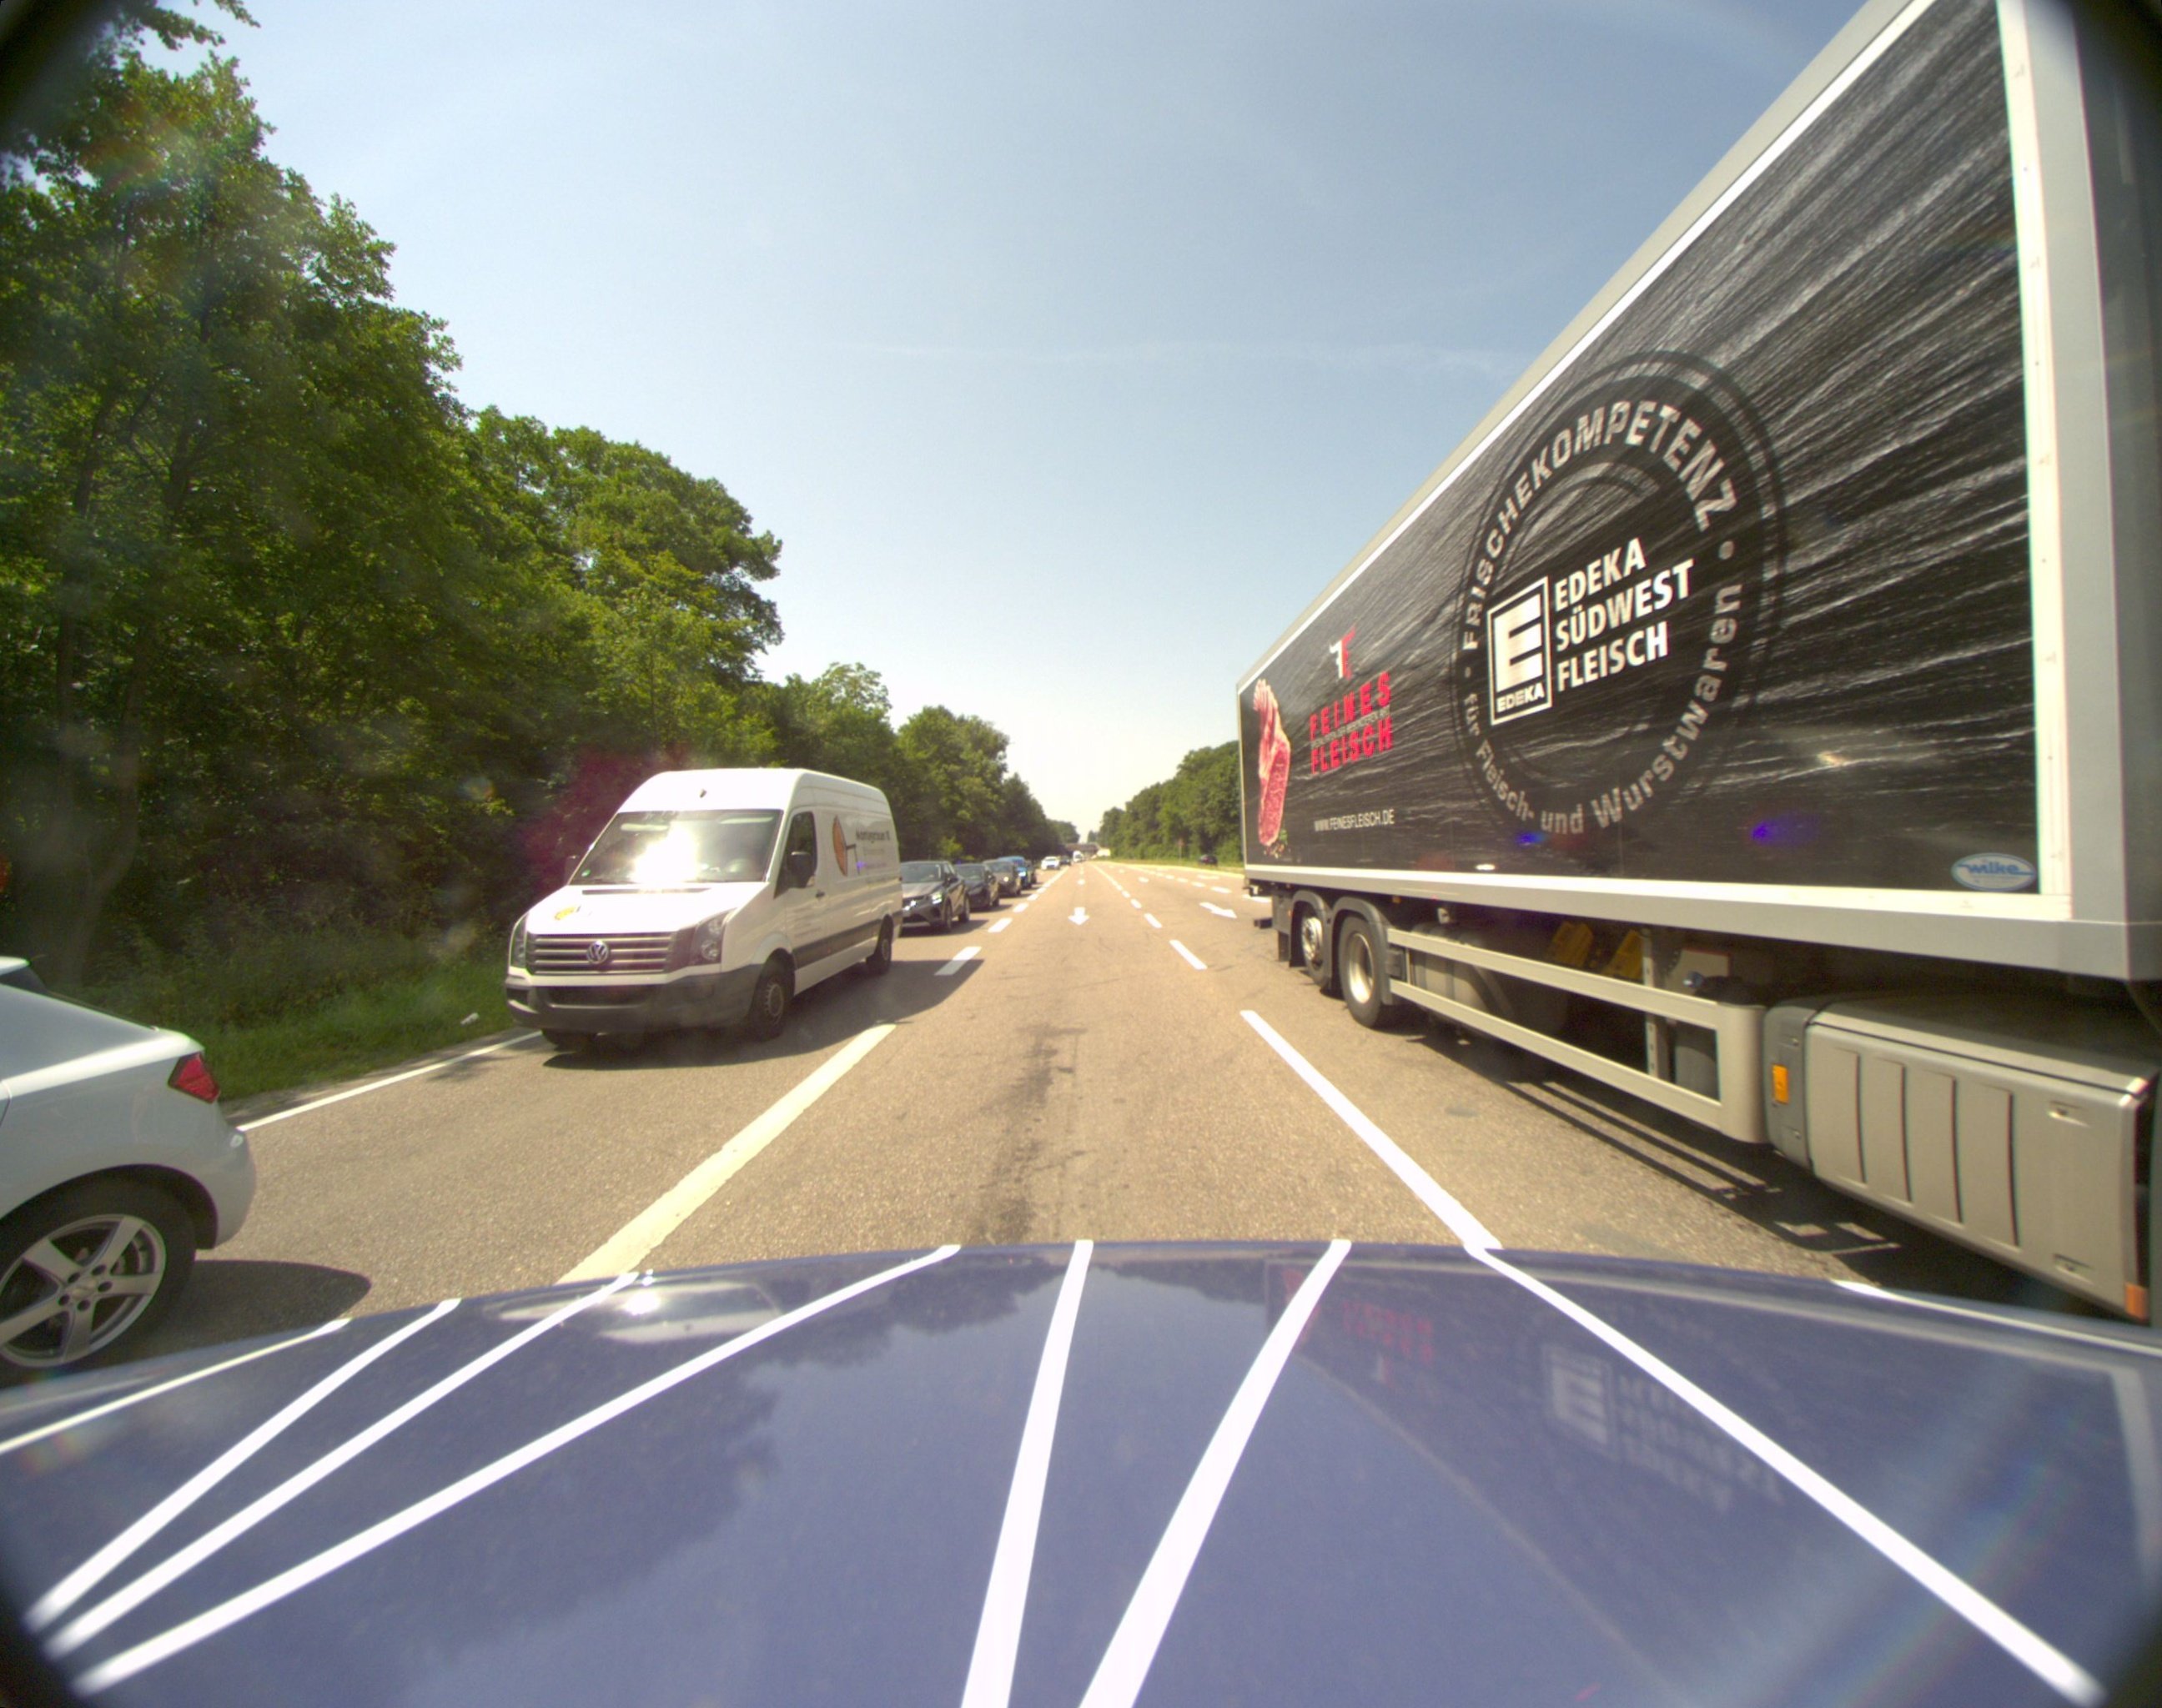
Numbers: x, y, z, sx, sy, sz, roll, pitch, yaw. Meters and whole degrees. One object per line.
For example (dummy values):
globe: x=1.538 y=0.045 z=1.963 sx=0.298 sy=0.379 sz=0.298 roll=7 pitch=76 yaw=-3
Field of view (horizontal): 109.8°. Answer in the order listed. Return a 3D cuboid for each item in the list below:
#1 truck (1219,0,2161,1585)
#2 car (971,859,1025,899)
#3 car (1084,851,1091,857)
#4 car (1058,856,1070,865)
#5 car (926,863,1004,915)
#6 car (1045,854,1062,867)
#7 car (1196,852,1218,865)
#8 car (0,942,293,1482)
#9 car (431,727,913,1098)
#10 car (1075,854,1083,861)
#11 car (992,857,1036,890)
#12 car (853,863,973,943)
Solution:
truck: x=3.499 y=-0.461 z=5.074 sx=2.753 sy=3.862 sz=11.318 roll=-2 pitch=0 yaw=-1
car: x=-3.297 y=0.978 z=30.890 sx=1.796 sy=1.431 sz=4.228 roll=-1 pitch=0 yaw=-1
car: x=1.985 y=-0.011 z=222.782 sx=1.999 sy=1.543 sz=3.999 roll=0 pitch=0 yaw=0
car: x=-2.728 y=0.985 z=120.928 sx=1.796 sy=1.431 sz=4.228 roll=-1 pitch=0 yaw=-1
car: x=-3.480 y=1.009 z=23.511 sx=1.796 sy=1.348 sz=4.228 roll=-1 pitch=0 yaw=-1
car: x=-3.121 y=0.736 z=86.843 sx=1.796 sy=1.431 sz=4.228 roll=0 pitch=0 yaw=-1
car: x=15.343 y=0.524 z=92.793 sx=1.999 sy=1.543 sz=3.999 roll=-2 pitch=1 yaw=0
car: x=-3.969 y=1.095 z=0.909 sx=1.693 sy=1.427 sz=4.001 roll=-3 pitch=0 yaw=3
car: x=-3.641 y=0.433 z=8.550 sx=1.974 sy=2.629 sz=6.060 roll=-2 pitch=0 yaw=1
car: x=-0.433 y=0.720 z=161.767 sx=1.796 sy=1.431 sz=4.228 roll=-1 pitch=0 yaw=-1
car: x=-3.218 y=0.907 z=37.113 sx=1.796 sy=1.431 sz=4.228 roll=-1 pitch=0 yaw=-1
car: x=-3.619 y=0.986 z=17.139 sx=1.796 sy=1.452 sz=4.228 roll=-2 pitch=0 yaw=-1
